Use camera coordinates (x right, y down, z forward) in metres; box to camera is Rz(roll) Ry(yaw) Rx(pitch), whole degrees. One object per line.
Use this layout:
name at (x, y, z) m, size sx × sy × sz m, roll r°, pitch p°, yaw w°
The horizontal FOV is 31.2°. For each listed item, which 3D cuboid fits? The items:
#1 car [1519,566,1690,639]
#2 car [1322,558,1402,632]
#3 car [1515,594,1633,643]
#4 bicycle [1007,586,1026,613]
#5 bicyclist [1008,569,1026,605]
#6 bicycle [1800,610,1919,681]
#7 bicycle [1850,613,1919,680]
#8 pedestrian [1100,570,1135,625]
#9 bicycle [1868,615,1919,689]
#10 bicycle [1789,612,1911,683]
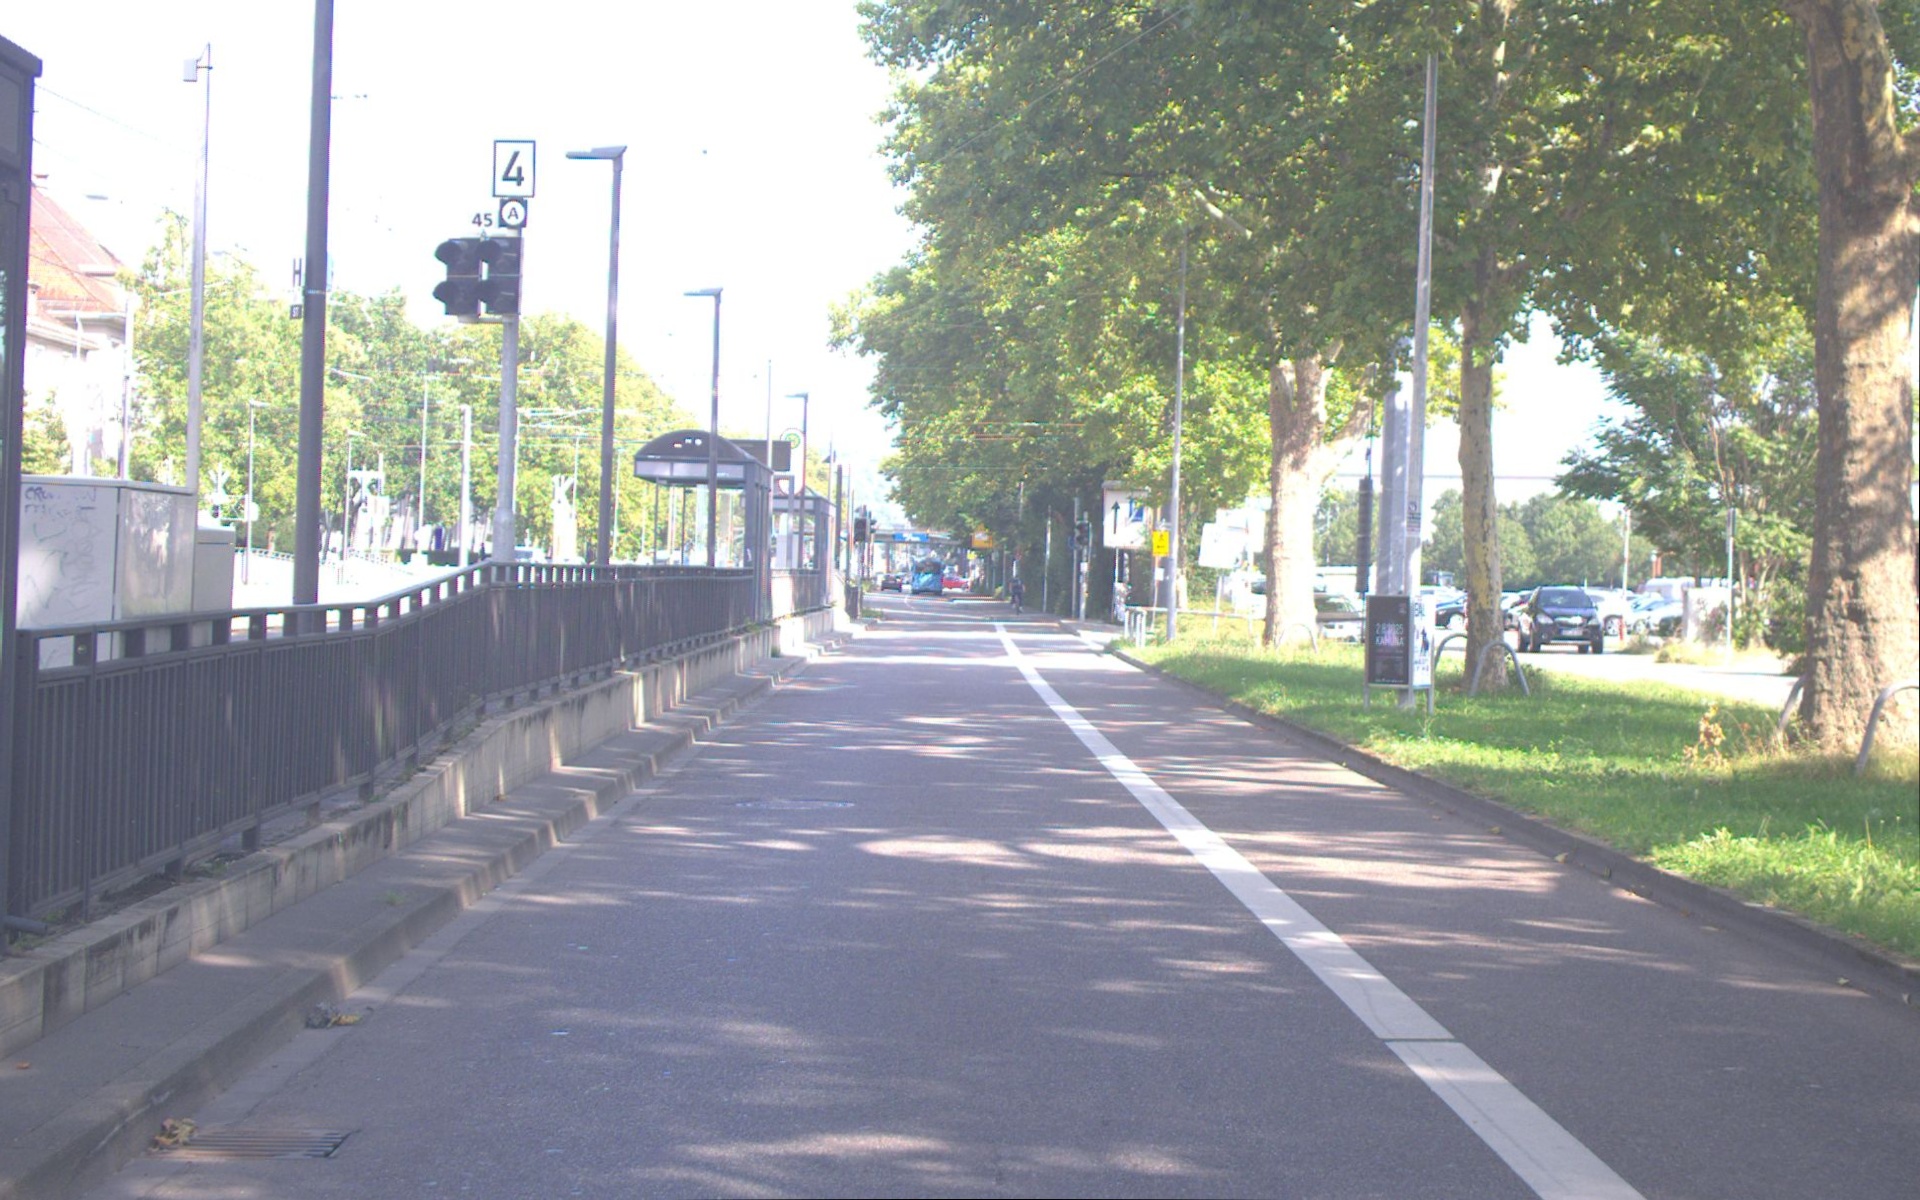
car at (16.083, 0.069, 85.701) m, size 4.236 × 1.673 × 1.727 m, roll 1°, pitch 1°, yaw -37°
car at (11.627, -0.173, 99.655) m, size 1.722 × 2.041 × 4.461 m, roll 2°, pitch 0°, yaw 0°
car at (20.742, 0.608, 116.290) m, size 3.775 × 1.441 × 1.526 m, roll 3°, pitch 0°, yaw 6°
bicycle at (2.382, -0.020, 145.148) m, size 0.715 × 1.104 × 2.509 m, roll 3°, pitch 0°, yaw 0°
bicyclist at (2.408, -0.555, 145.299) m, size 0.705 × 1.456 × 1.009 m, roll 3°, pitch 0°, yaw 0°
bicycle at (12.820, 0.637, 48.954) m, size 0.505 × 0.966 × 1.661 m, roll 0°, pitch 1°, yaw -42°
bicycle at (13.885, 0.674, 50.194) m, size 1.656 × 0.966 × 0.506 m, roll 0°, pitch 0°, yaw 2°
pedestrian at (4.706, -0.079, 102.618) m, size 0.626 × 1.612 × 0.843 m, roll 2°, pitch 1°, yaw 37°
bicycle at (12.941, 0.694, 45.619) m, size 1.656 × 0.966 × 0.506 m, roll 0°, pitch 0°, yaw 5°
bicycle at (12.498, 0.660, 48.291) m, size 0.505 × 0.966 × 1.661 m, roll 0°, pitch 1°, yaw -42°
